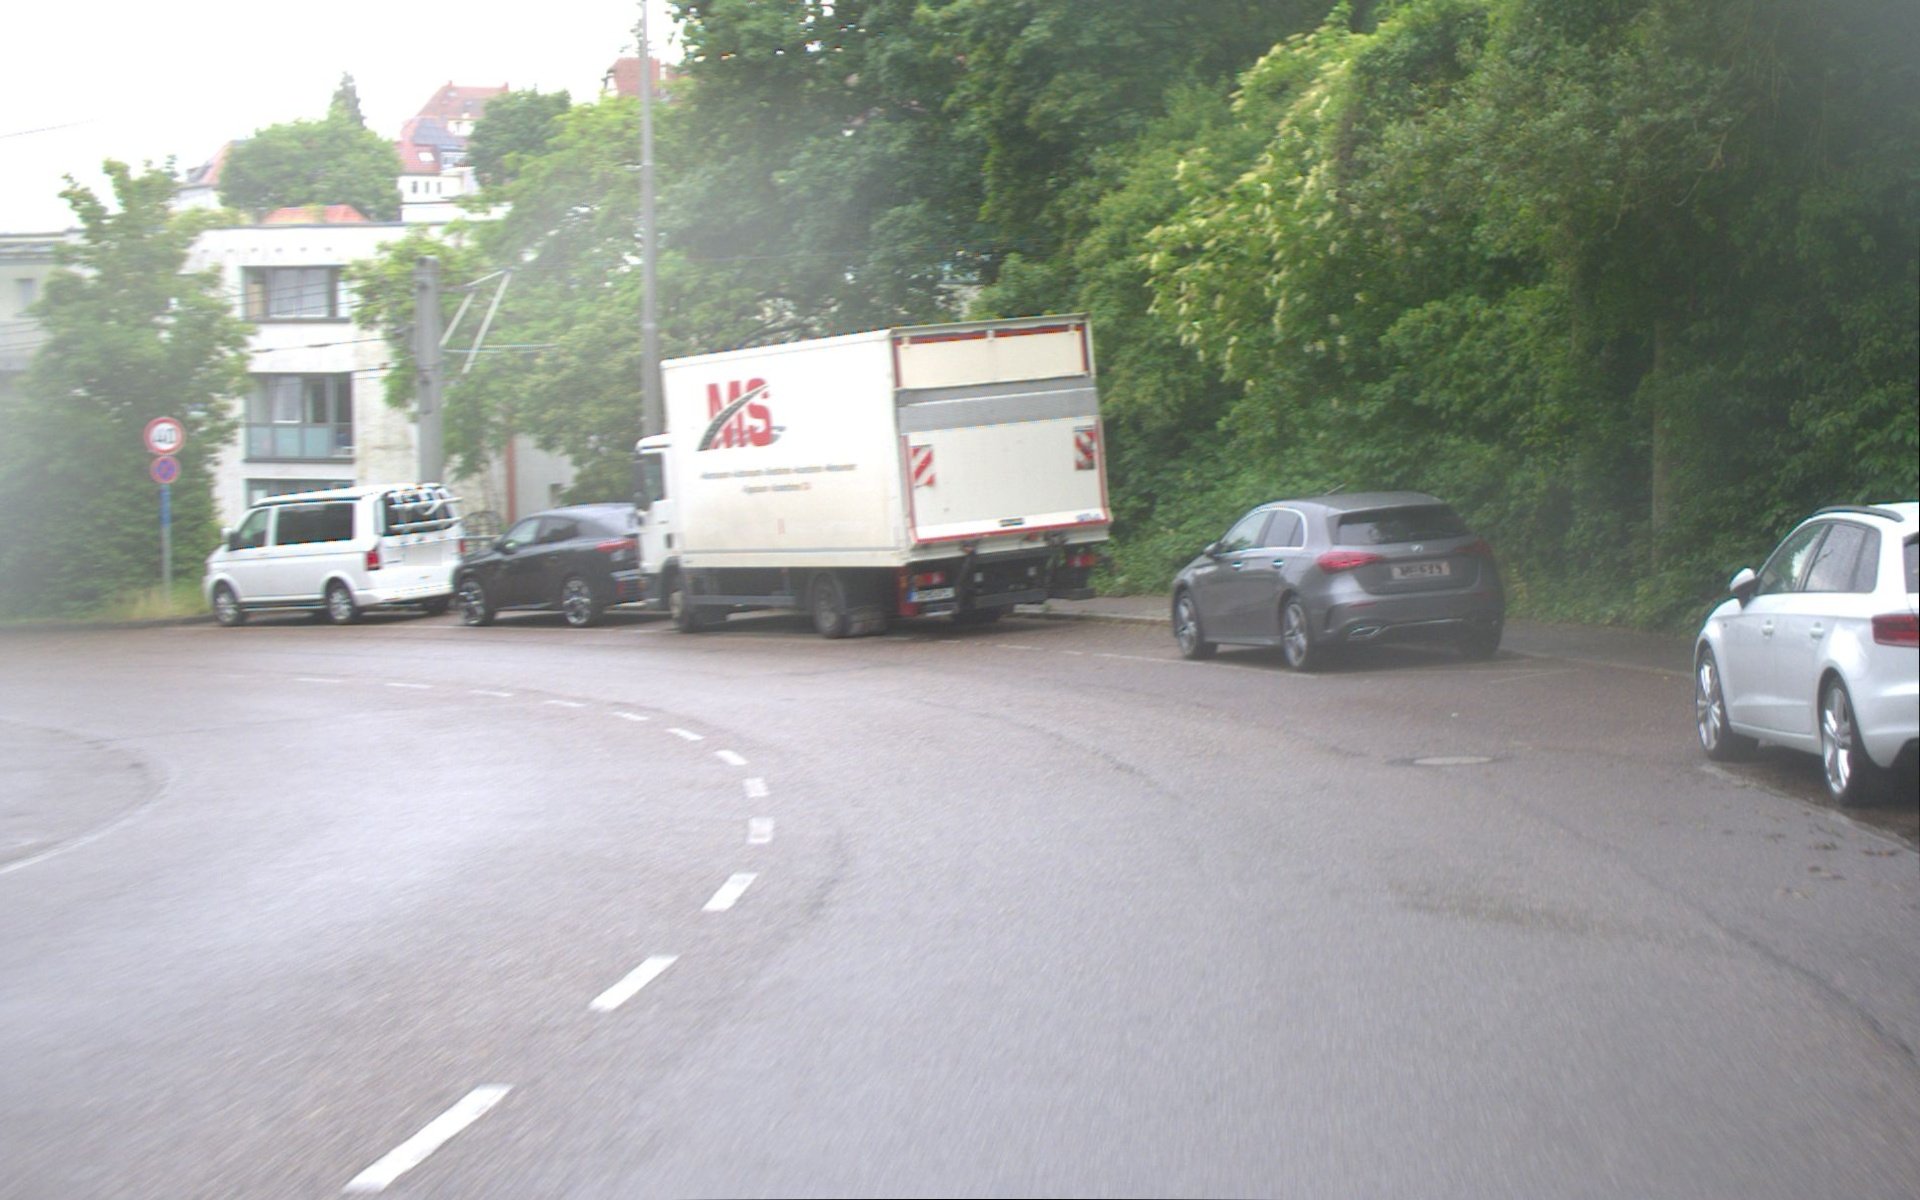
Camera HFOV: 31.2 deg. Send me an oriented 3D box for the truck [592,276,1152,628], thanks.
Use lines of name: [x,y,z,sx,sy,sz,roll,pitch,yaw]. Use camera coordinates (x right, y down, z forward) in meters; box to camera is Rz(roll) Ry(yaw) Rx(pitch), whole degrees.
truck: [-1.291,-1.644,41.007,3.007,3.561,8.337,-7,3,-27]

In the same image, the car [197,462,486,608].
car: [-9.409,-0.967,52.054,4.688,2.006,1.878,-1,2,45]

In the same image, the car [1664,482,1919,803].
car: [4.974,0.120,17.643,1.755,1.395,4.096,-2,2,-1]

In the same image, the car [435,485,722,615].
car: [-5.286,-0.672,47.220,1.719,1.550,4.275,-8,5,-39]

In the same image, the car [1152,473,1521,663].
car: [3.206,-0.328,30.152,1.720,1.439,4.126,-4,3,-16]
